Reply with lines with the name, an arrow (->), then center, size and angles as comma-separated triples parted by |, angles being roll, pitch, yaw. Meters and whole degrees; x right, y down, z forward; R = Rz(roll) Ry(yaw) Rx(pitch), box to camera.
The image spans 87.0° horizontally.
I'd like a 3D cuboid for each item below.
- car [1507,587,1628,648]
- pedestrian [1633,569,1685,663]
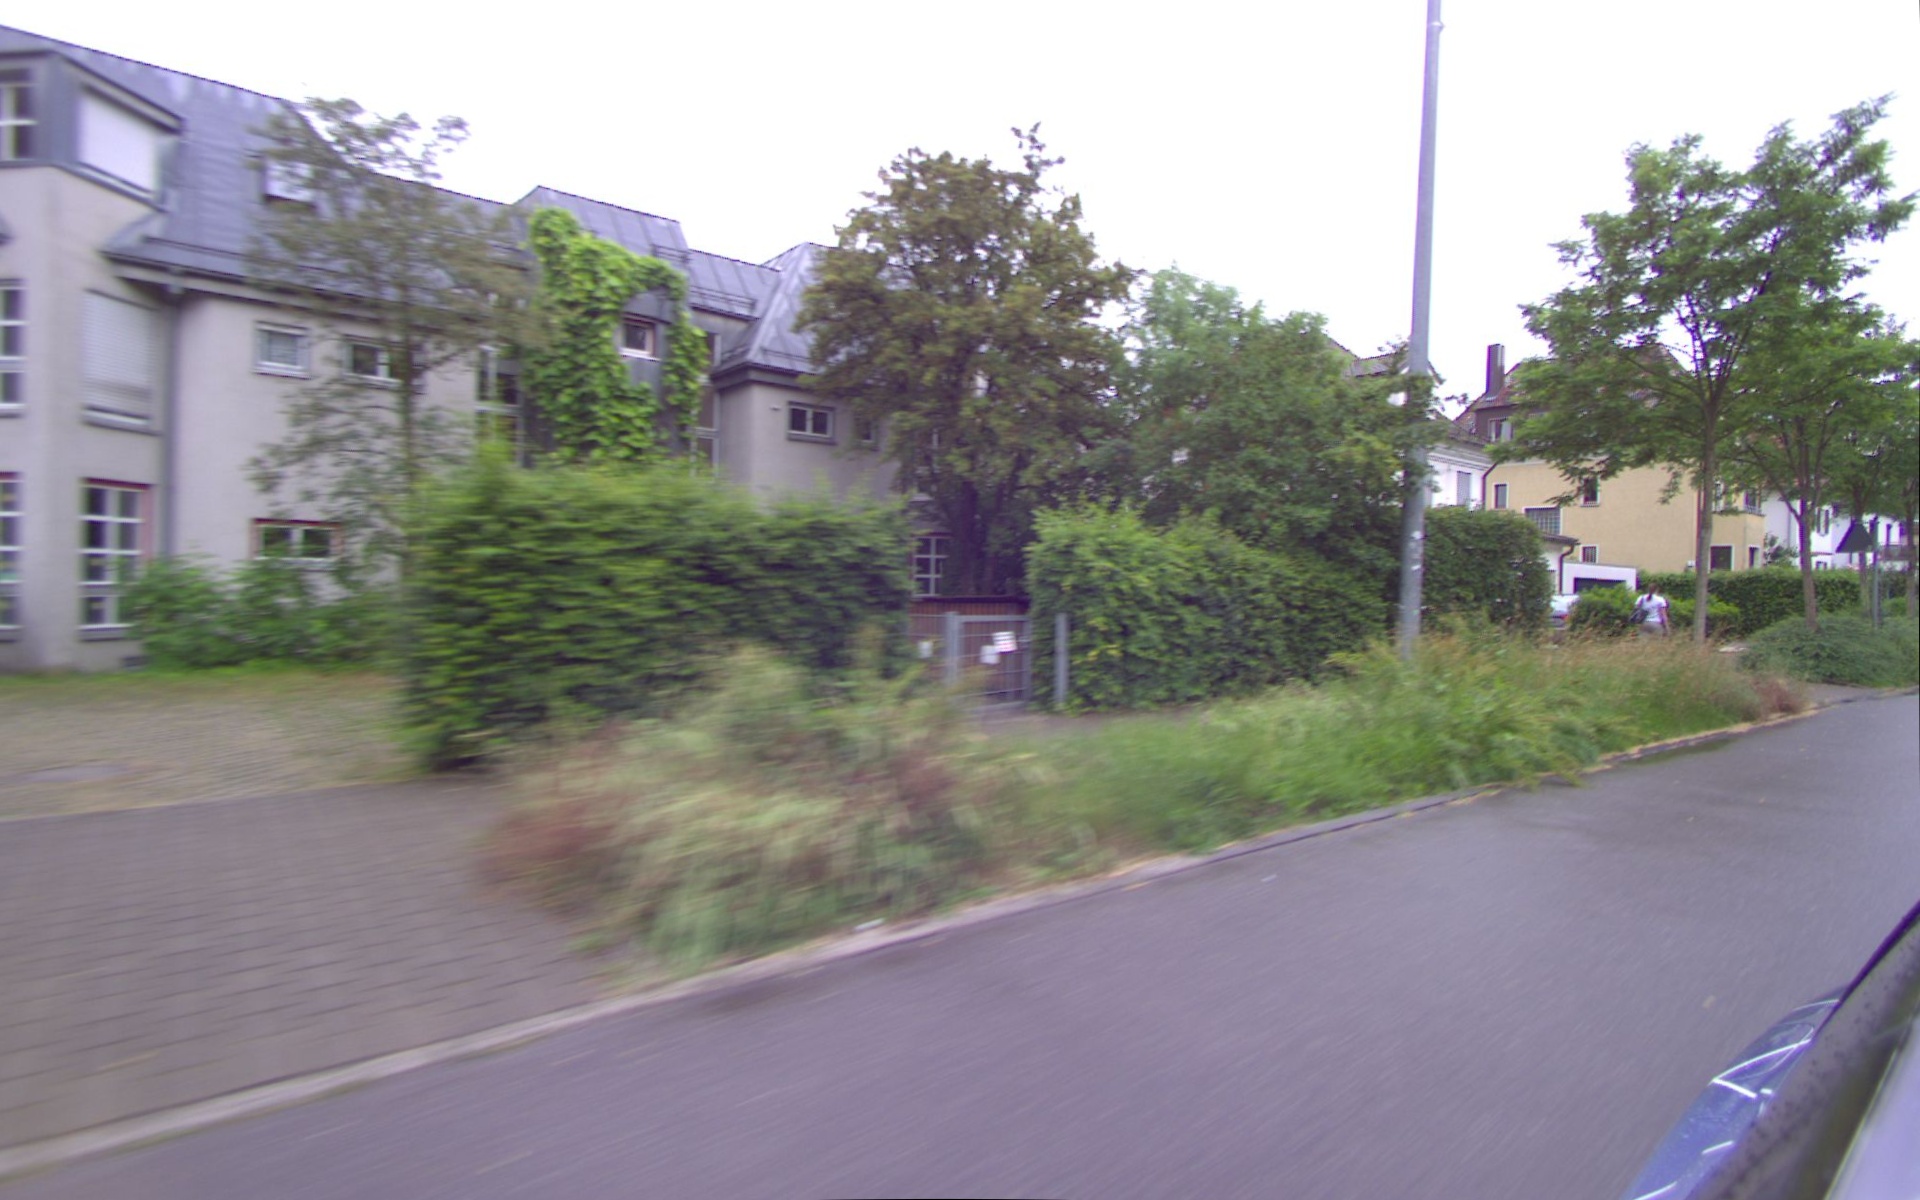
car -> 15.211, 0.407, 25.294 | 3.413, 1.437, 1.473 | 0, 0, -38
pedestrian -> 13.509, 0.288, 19.570 | 0.701, 1.753, 0.635 | -2, 2, -37
